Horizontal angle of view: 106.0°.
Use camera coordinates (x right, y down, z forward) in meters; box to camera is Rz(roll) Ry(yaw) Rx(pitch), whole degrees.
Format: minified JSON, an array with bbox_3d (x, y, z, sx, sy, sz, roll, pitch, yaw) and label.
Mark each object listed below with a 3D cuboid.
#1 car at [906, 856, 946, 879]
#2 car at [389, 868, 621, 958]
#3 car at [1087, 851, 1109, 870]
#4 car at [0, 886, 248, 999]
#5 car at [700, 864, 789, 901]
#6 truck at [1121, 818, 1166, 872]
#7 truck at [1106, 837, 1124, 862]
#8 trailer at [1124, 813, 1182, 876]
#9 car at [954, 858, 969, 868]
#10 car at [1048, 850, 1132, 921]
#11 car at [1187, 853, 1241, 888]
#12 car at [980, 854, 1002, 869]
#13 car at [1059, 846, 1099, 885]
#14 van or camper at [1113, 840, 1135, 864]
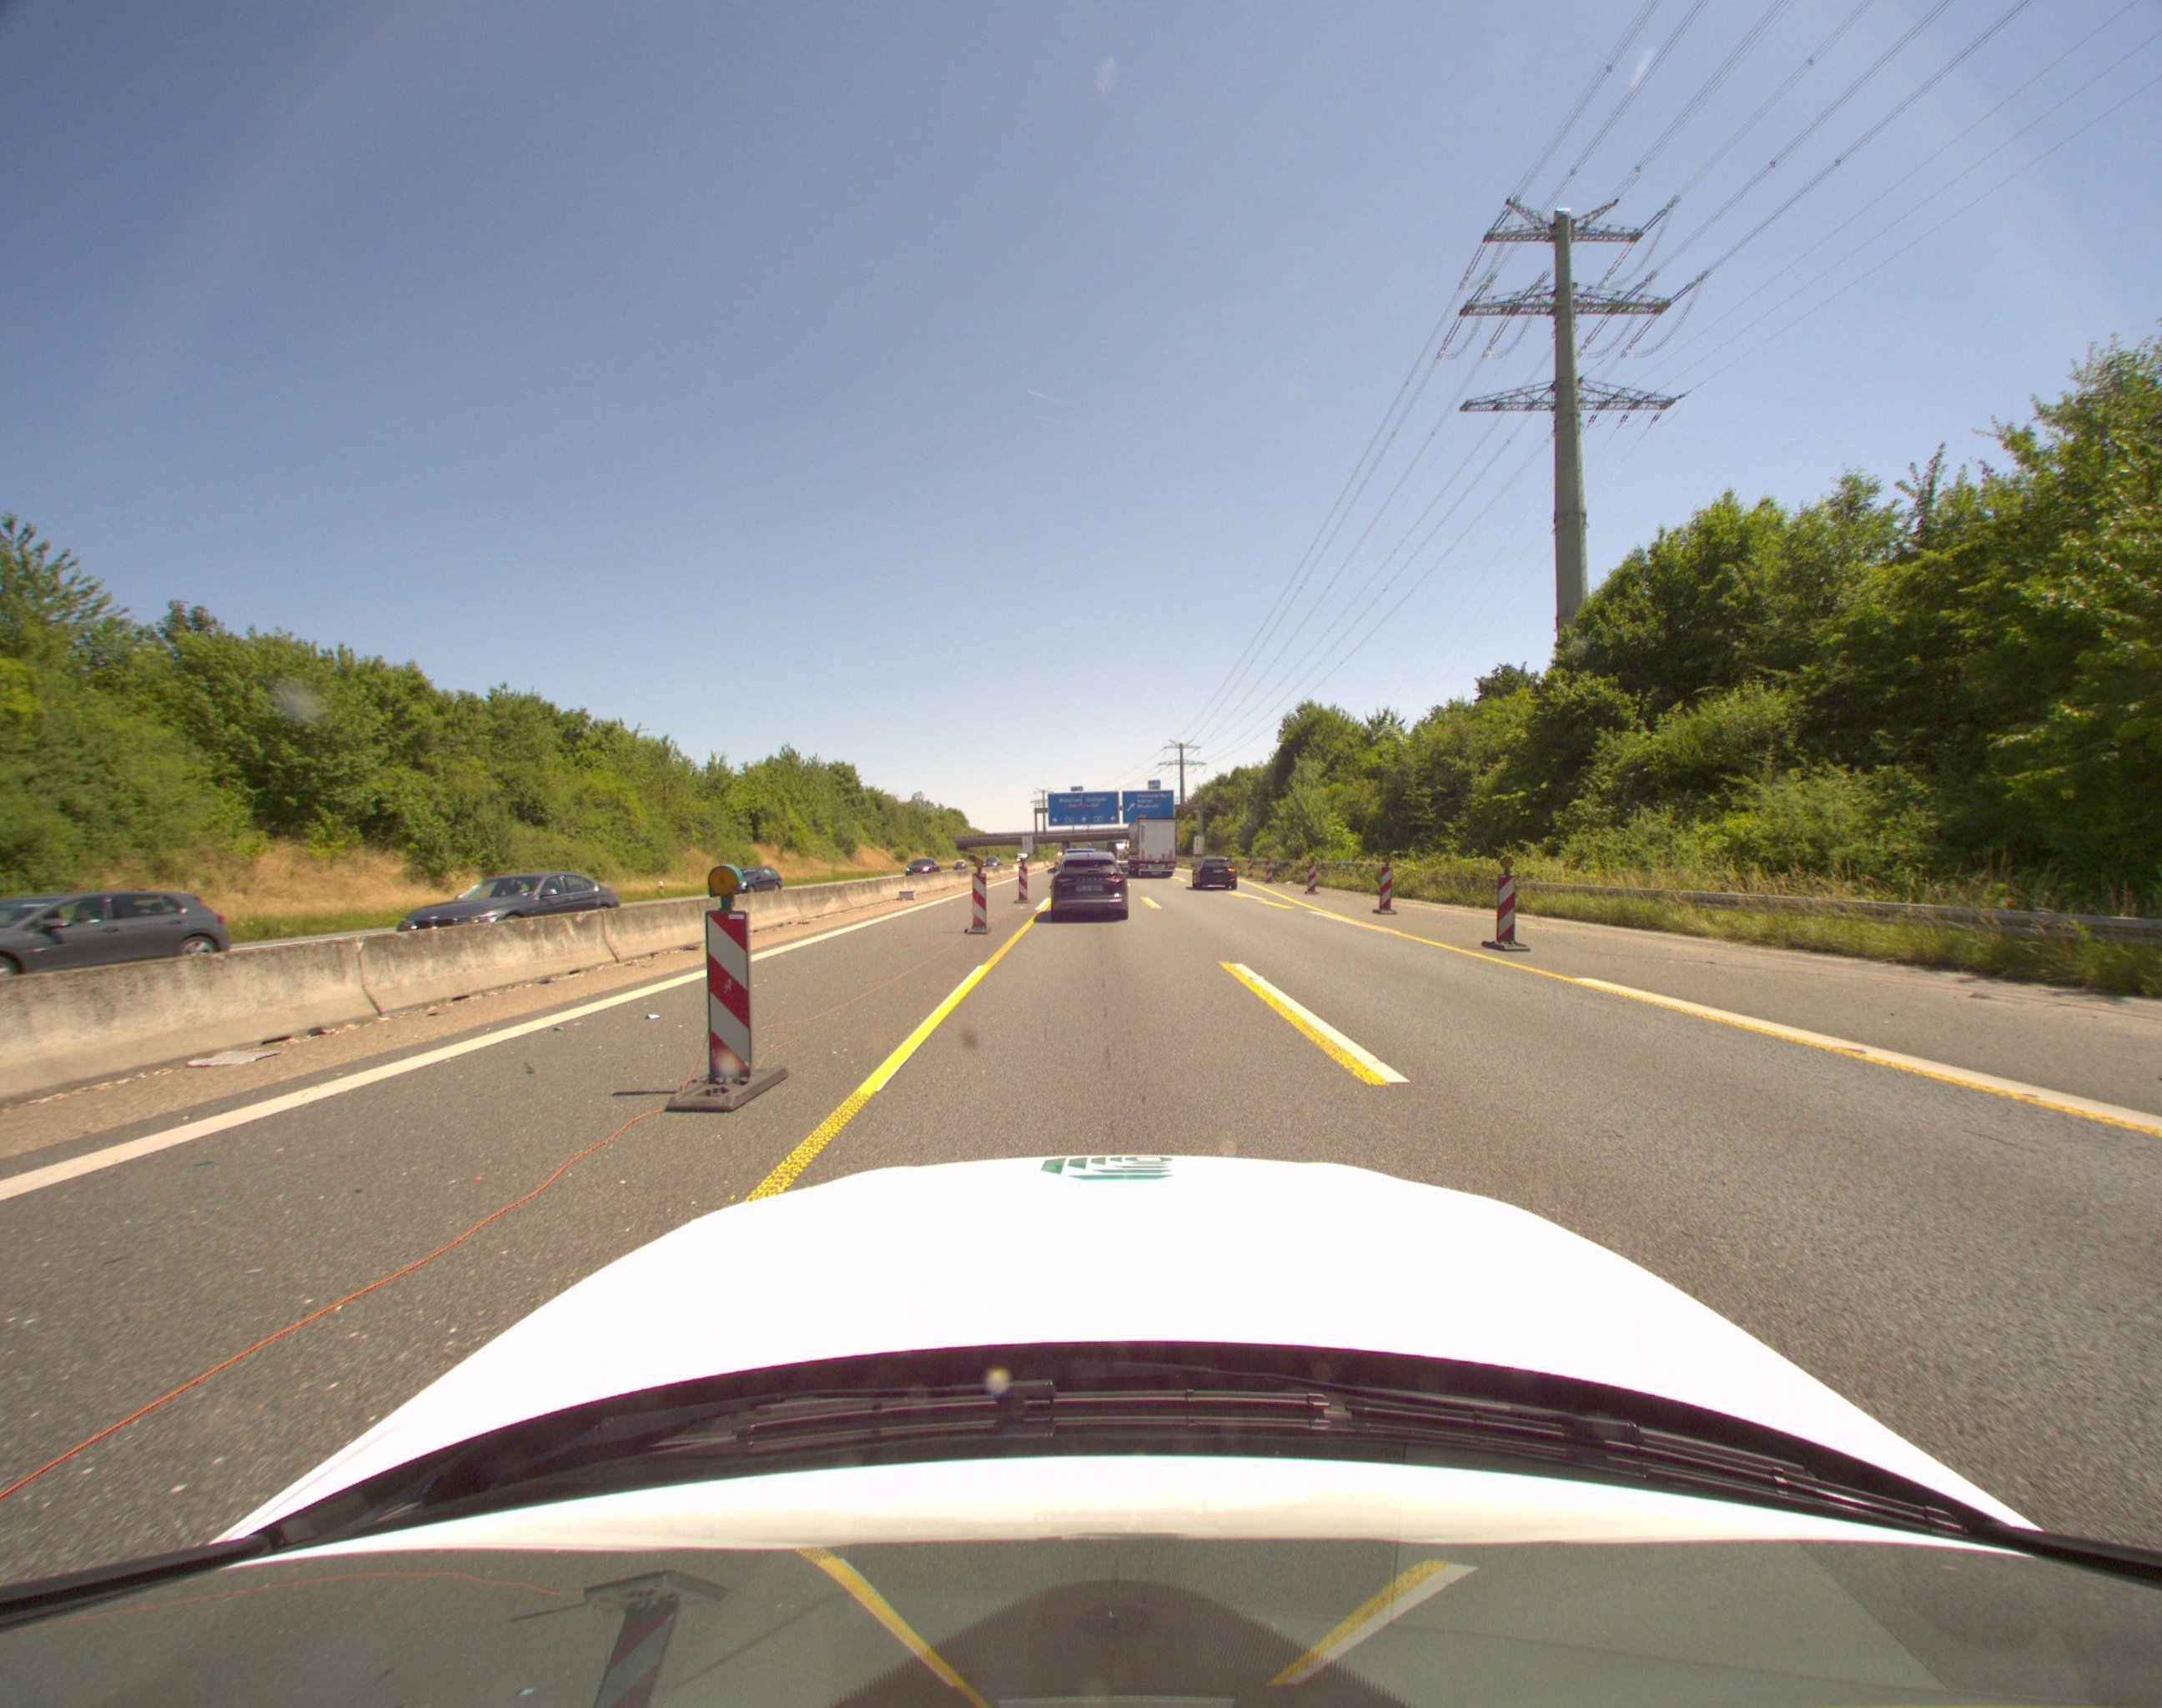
[{"bbox_3d":[-10.819,0.905,57.072,1.843,1.460,4.488,-2,0,0],"label":"car"},{"bbox_3d":[-11.129,1.056,16.135,1.610,1.442,3.992,-2,0,2],"label":"car"},{"bbox_3d":[1.485,0.528,72.667,1.889,1.509,4.442,1,2,0],"label":"car"},{"bbox_3d":[-15.401,1.280,12.285,1.499,1.396,4.087,-1,0,-2],"label":"car"},{"bbox_3d":[-15.378,1.269,37.476,1.986,1.460,4.589,-2,0,2],"label":"car"},{"bbox_3d":[4.931,-0.673,65.860,3.015,4.087,7.793,0,0,0],"label":"truck"},{"bbox_3d":[5.772,-0.693,139.277,3.066,4.146,13.060,0,0,2],"label":"truck"},{"bbox_3d":[4.989,-0.616,58.842,3.056,4.042,11.483,-1,0,-1],"label":"trailer"},{"bbox_3d":[-17.551,1.282,119.835,1.568,1.464,3.779,-2,0,1],"label":"car"},{"bbox_3d":[0.209,0.696,20.517,1.889,1.592,4.442,0,0,0],"label":"car"},{"bbox_3d":[5.962,0.715,36.877,1.773,1.489,4.464,0,0,0],"label":"car"},{"bbox_3d":[-10.580,0.875,95.915,1.986,1.600,4.583,-2,0,1],"label":"car"},{"bbox_3d":[-0.082,0.589,41.205,1.889,1.842,4.441,0,-1,0],"label":"car"},{"bbox_3d":[5.383,-0.246,102.493,2.577,2.968,6.087,1,0,2],"label":"van or camper"}]
